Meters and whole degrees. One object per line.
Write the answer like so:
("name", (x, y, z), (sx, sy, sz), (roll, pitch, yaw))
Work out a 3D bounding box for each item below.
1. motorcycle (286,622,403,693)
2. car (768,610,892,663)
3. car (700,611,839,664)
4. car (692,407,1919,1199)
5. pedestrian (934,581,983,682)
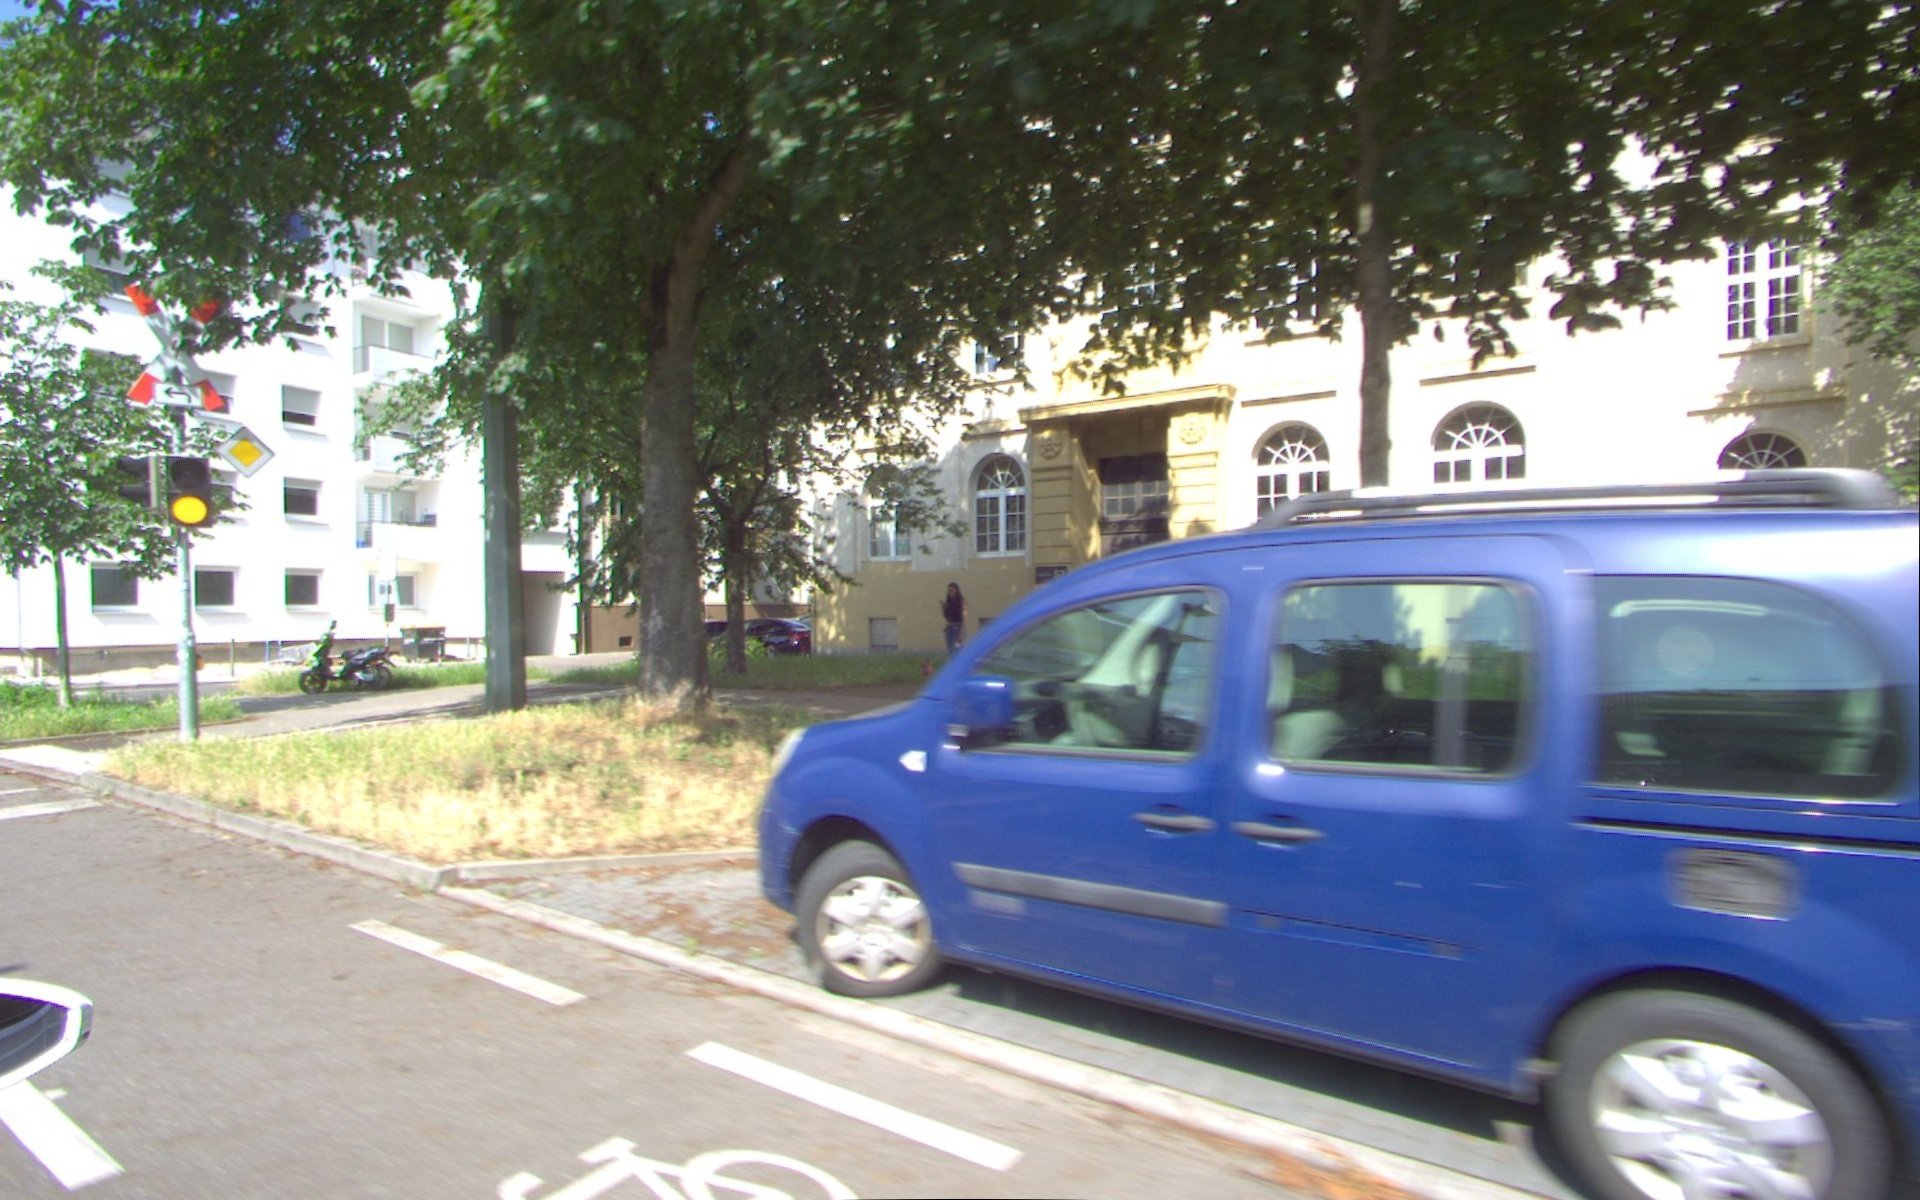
("motorcycle", (-11.750, 1.092, 19.150), (1.811, 1.233, 0.571), (-1, 4, 0))
("car", (-4.215, 1.120, 32.147), (3.955, 1.560, 1.797), (0, 0, 42))
("car", (-5.684, 1.062, 29.748), (3.942, 1.478, 1.736), (0, 0, 31))
("car", (1.100, 0.564, 3.666), (4.128, 1.922, 1.816), (0, 2, 36))
("pedestrian", (-0.022, 0.508, 16.405), (0.532, 1.617, 0.630), (-1, 0, 31))
